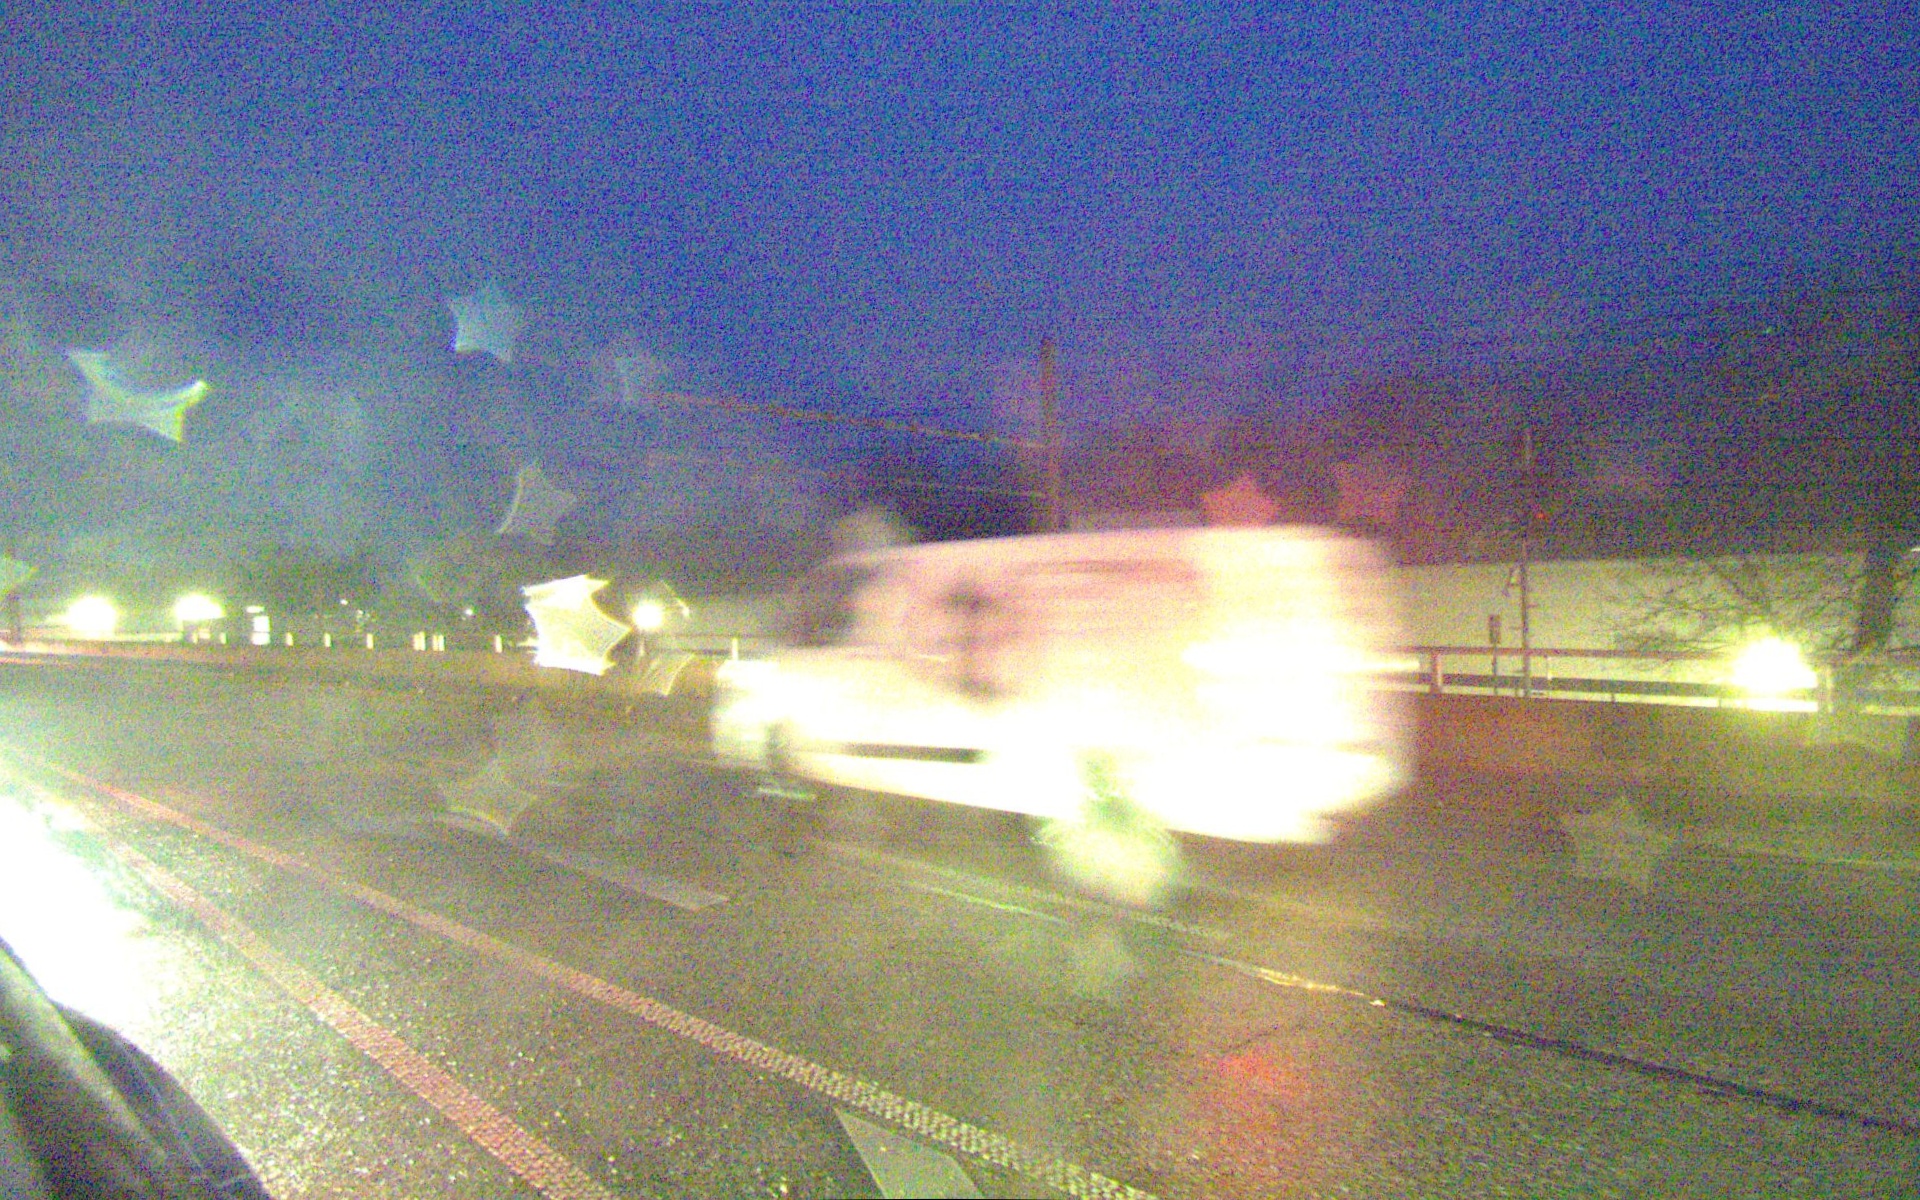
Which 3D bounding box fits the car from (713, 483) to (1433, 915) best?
[{"bbox_3d":[0.507,0.498,7.105,4.711,2.029,2.063,-1,-1,41],"label":"car"}]
